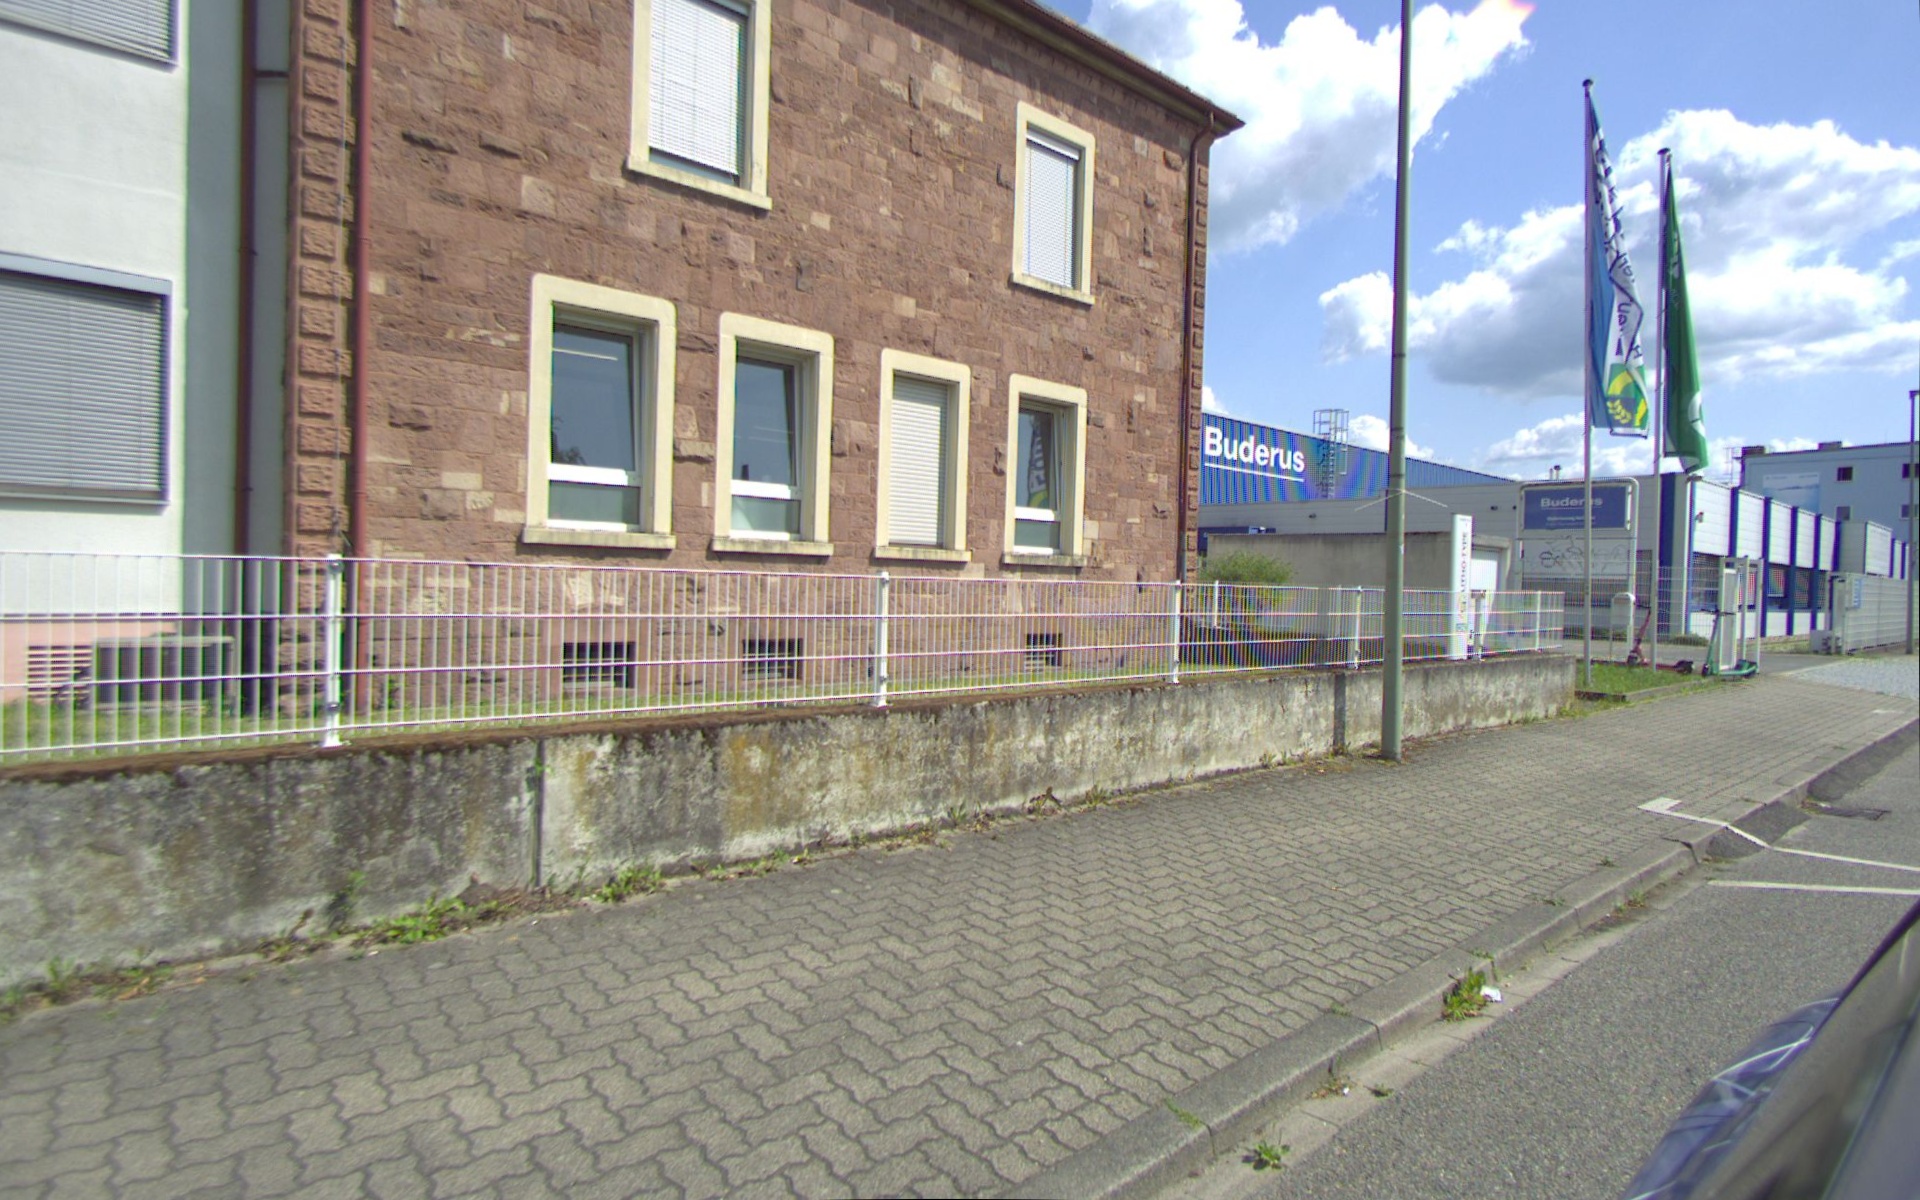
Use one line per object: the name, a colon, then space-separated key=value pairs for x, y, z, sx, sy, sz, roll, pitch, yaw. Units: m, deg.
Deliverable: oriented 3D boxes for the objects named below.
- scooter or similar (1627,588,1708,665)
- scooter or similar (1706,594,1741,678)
scooter or similar: x=12.197 y=0.438 z=17.477 sx=0.253 sy=1.261 sz=1.152 roll=1 pitch=2 yaw=-22
scooter or similar: x=12.309 y=0.575 z=16.314 sx=0.360 sy=1.328 sz=0.333 roll=1 pitch=1 yaw=-40
